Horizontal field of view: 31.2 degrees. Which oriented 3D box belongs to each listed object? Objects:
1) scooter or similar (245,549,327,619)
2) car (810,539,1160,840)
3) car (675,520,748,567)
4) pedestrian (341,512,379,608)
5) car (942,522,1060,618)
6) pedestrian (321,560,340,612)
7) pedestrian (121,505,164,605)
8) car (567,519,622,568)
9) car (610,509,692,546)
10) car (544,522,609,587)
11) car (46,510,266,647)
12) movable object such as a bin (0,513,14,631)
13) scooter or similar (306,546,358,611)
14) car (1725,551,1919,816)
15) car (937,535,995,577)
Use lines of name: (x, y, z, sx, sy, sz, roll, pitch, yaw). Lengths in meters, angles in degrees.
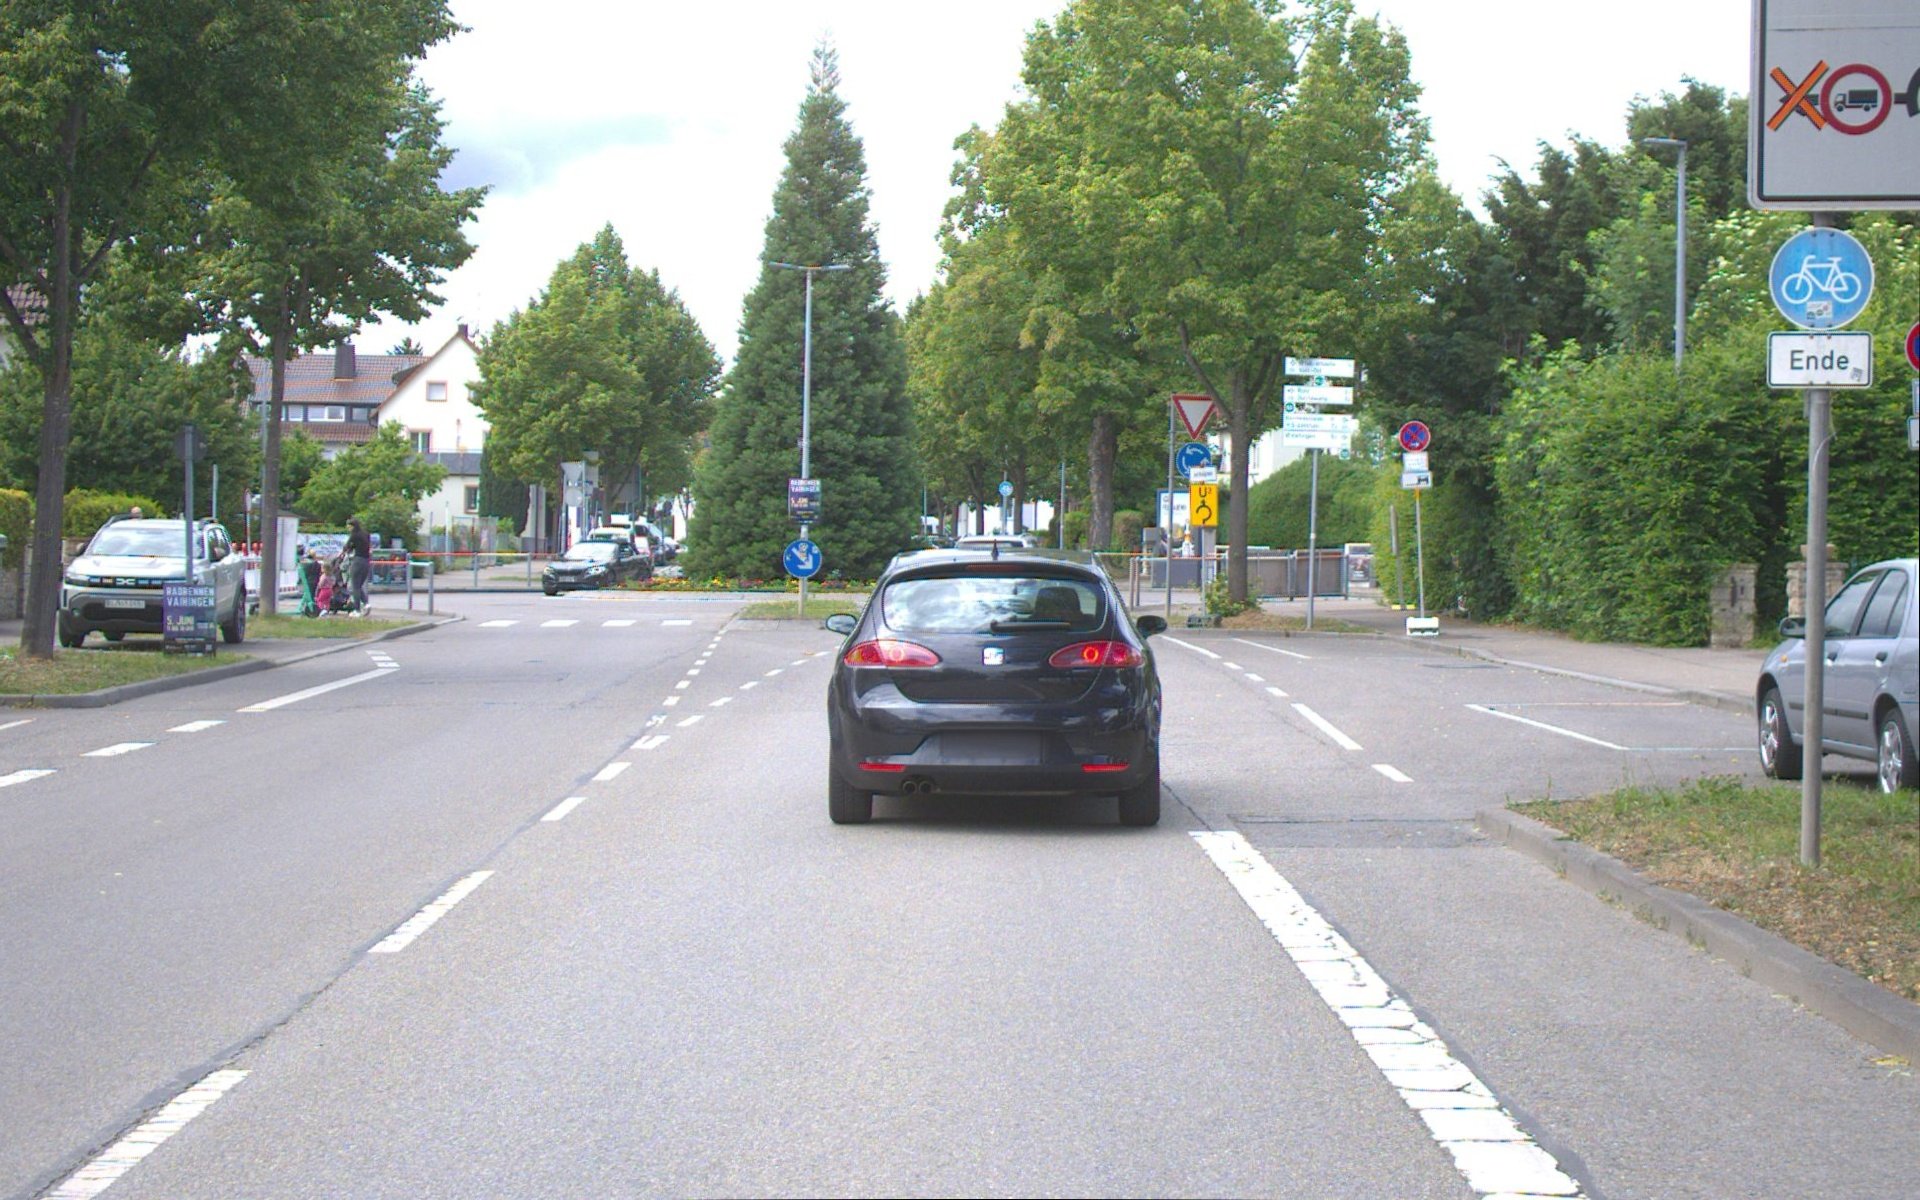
scooter or similar: (-11.095, -0.265, 56.576, 1.284, 1.135, 0.347, 0, 1, -32)
car: (0.190, 0.408, 19.052, 1.732, 1.481, 4.000, 0, 1, 2)
car: (-8.523, -1.950, 118.317, 1.869, 1.555, 4.259, 0, 1, 5)
pedestrian: (-10.457, -0.695, 59.938, 0.481, 1.664, 0.516, 0, 1, -34)
car: (0.715, -0.554, 61.044, 1.993, 1.607, 4.000, 1, 1, 0)
pedestrian: (-10.762, -0.238, 58.795, 0.238, 0.891, 0.260, 1, 1, -28)
pedestrian: (-14.637, -0.811, 61.556, 0.561, 1.778, 0.540, 0, 1, -40)
car: (-14.840, -2.296, 139.668, 2.029, 1.964, 4.001, 0, 1, -3)
car: (-16.786, -3.933, 186.767, 3.990, 1.964, 2.035, 0, 1, 18)
car: (-9.744, -1.171, 87.567, 1.568, 1.628, 3.623, 0, 1, -5)
car: (-10.264, -0.301, 44.181, 1.860, 1.648, 4.294, 1, 1, -1)
movable object such as a bin: (-14.074, -0.422, 48.384, 1.205, 1.645, 0.998, 3, 1, -3)
scooter or similar: (-11.050, -0.376, 60.475, 0.406, 1.092, 0.969, 2, 1, -42)
car: (5.753, 0.443, 19.973, 1.612, 1.372, 4.387, 0, 0, 0)
car: (0.214, -1.586, 123.549, 1.474, 1.484, 3.383, 0, 1, -11)
